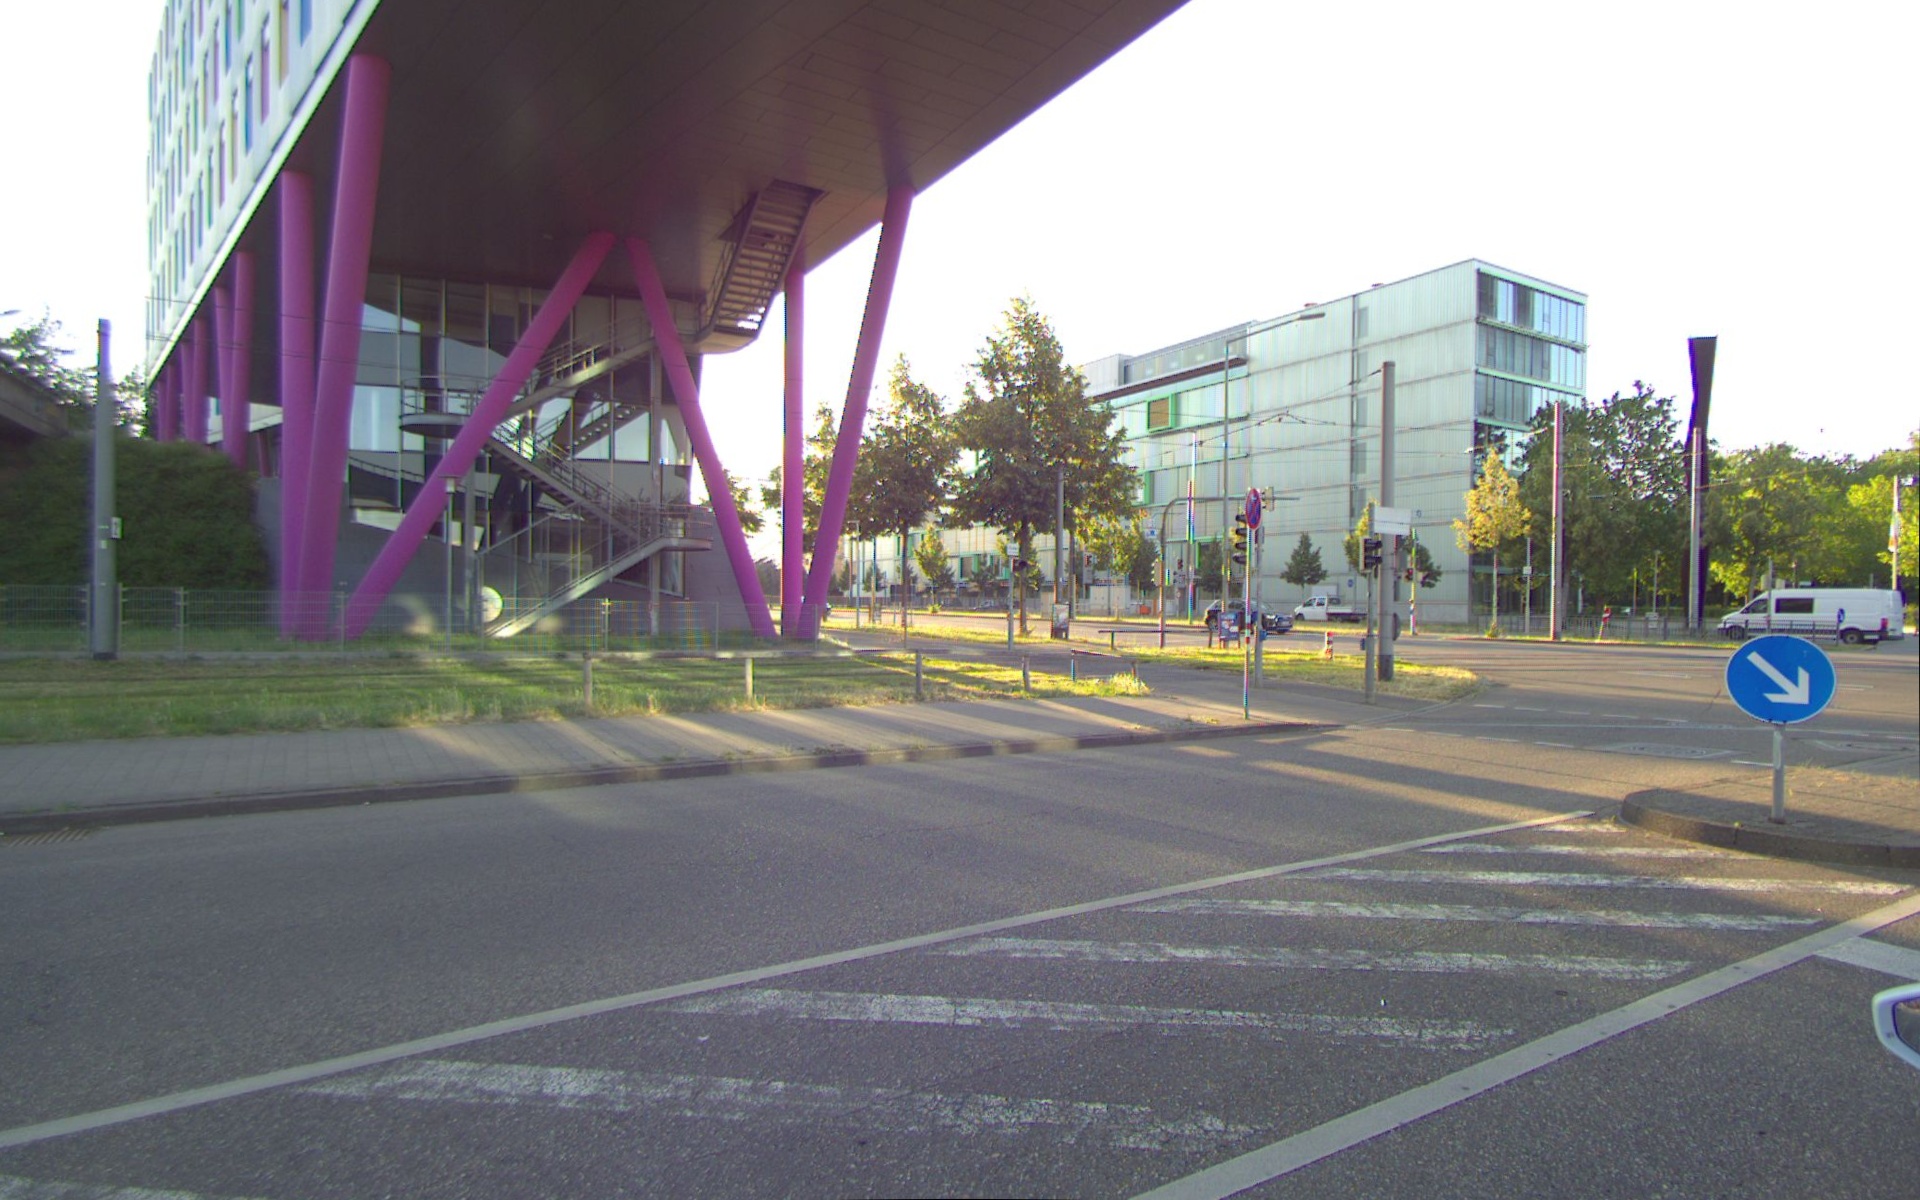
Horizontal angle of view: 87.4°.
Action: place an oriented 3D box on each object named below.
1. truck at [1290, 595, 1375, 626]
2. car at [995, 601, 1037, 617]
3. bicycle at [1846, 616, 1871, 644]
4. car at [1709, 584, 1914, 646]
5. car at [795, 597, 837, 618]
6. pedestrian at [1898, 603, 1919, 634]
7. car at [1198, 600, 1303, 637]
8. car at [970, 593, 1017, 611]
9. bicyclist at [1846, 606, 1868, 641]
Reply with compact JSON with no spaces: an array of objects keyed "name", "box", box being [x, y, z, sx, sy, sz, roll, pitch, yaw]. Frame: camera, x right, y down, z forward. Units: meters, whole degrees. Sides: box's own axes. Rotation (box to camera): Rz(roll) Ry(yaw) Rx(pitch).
[{"name":"truck","box":[26.237,0.686,70.944,2.044,2.082,5.528,1,0,-31]},{"name":"car","box":[5.956,0.955,106.601,1.977,1.572,5.075,2,-1,-30]},{"name":"bicycle","box":[45.054,1.494,50.381,0.721,1.359,2.679,1,0,38]},{"name":"car","box":[40.092,0.682,47.573,2.778,2.671,6.887,2,-1,-29]},{"name":"car","box":[-11.573,0.562,80.596,1.973,1.572,5.210,2,-1,-24]},{"name":"pedestrian","box":[55.758,1.070,58.808,0.813,1.767,0.863,1,0,9]},{"name":"car","box":[13.293,0.805,46.198,1.968,1.577,4.448,1,0,-34]},{"name":"car","box":[3.141,0.170,95.108,1.977,1.572,5.200,2,-1,-30]},{"name":"bicyclist","box":[45.101,1.184,50.508,0.741,1.732,0.916,1,0,38]}]
